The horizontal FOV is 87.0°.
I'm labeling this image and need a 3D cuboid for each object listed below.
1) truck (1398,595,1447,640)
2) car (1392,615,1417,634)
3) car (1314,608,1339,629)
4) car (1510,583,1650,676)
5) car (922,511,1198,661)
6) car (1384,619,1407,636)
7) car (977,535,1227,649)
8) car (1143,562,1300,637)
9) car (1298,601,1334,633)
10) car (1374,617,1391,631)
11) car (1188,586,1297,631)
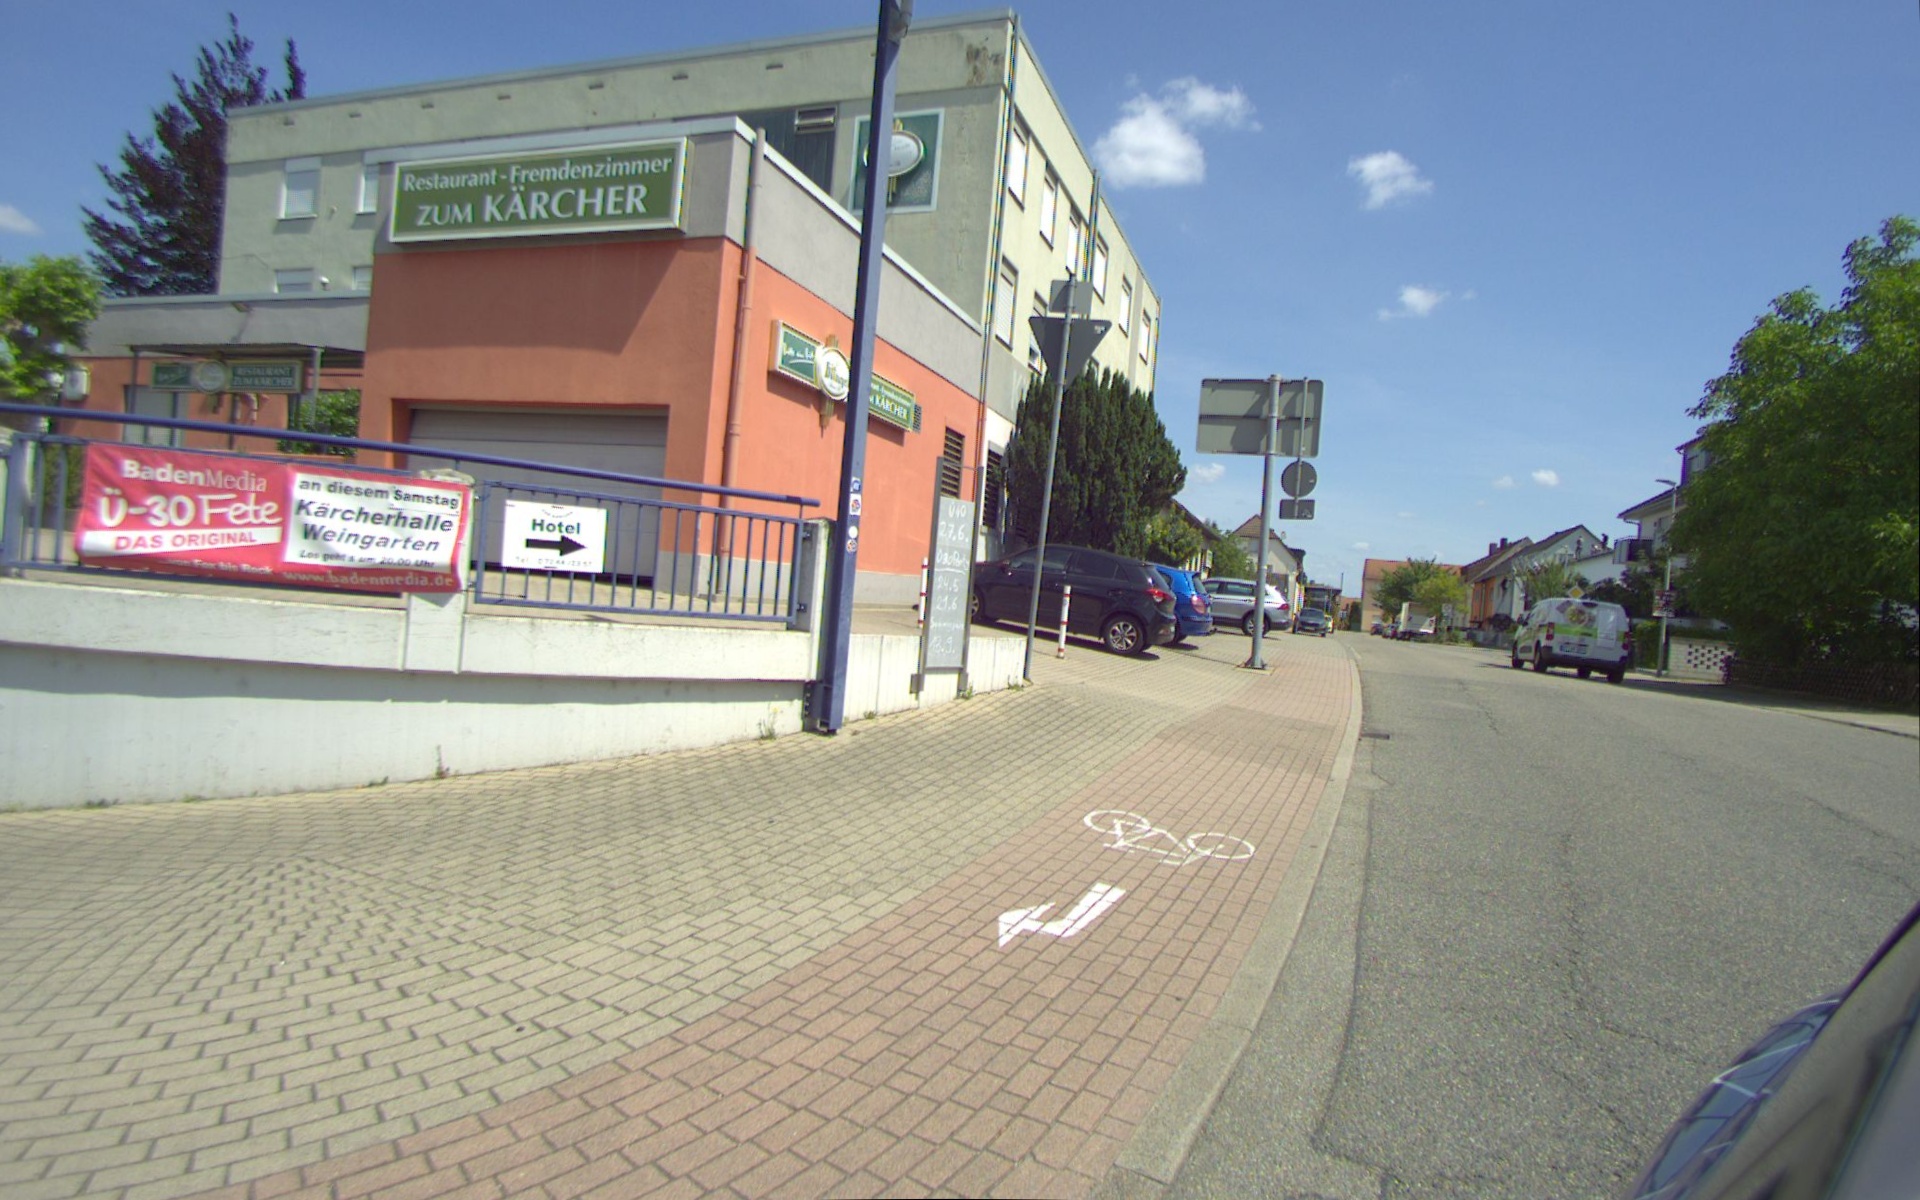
[{"bbox_3d":[38.427,1.451,84.240,2.416,3.284,6.995,9,2,18],"label":"truck"},{"bbox_3d":[42.811,2.332,97.550,1.701,1.518,4.187,8,1,19],"label":"car"},{"bbox_3d":[29.901,1.505,82.546,1.703,1.414,4.186,9,2,20],"label":"car"},{"bbox_3d":[15.080,0.711,24.893,1.796,1.877,4.530,7,1,19],"label":"car"},{"bbox_3d":[1.598,-0.261,15.994,3.865,1.506,1.799,12,4,19],"label":"car"},{"bbox_3d":[44.571,2.781,103.623,1.701,1.518,4.187,8,1,19],"label":"car"},{"bbox_3d":[2.676,-0.213,19.055,4.287,1.456,1.768,9,4,20],"label":"car"},{"bbox_3d":[8.081,-0.021,31.226,4.414,1.717,1.910,7,1,19],"label":"car"},{"bbox_3d":[19.298,0.945,54.970,1.613,1.507,4.113,6,1,19],"label":"car"},{"bbox_3d":[55.082,3.144,131.993,1.701,1.518,4.187,8,1,19],"label":"car"},{"bbox_3d":[12.828,0.376,45.896,4.490,1.471,1.904,7,1,21],"label":"car"}]
